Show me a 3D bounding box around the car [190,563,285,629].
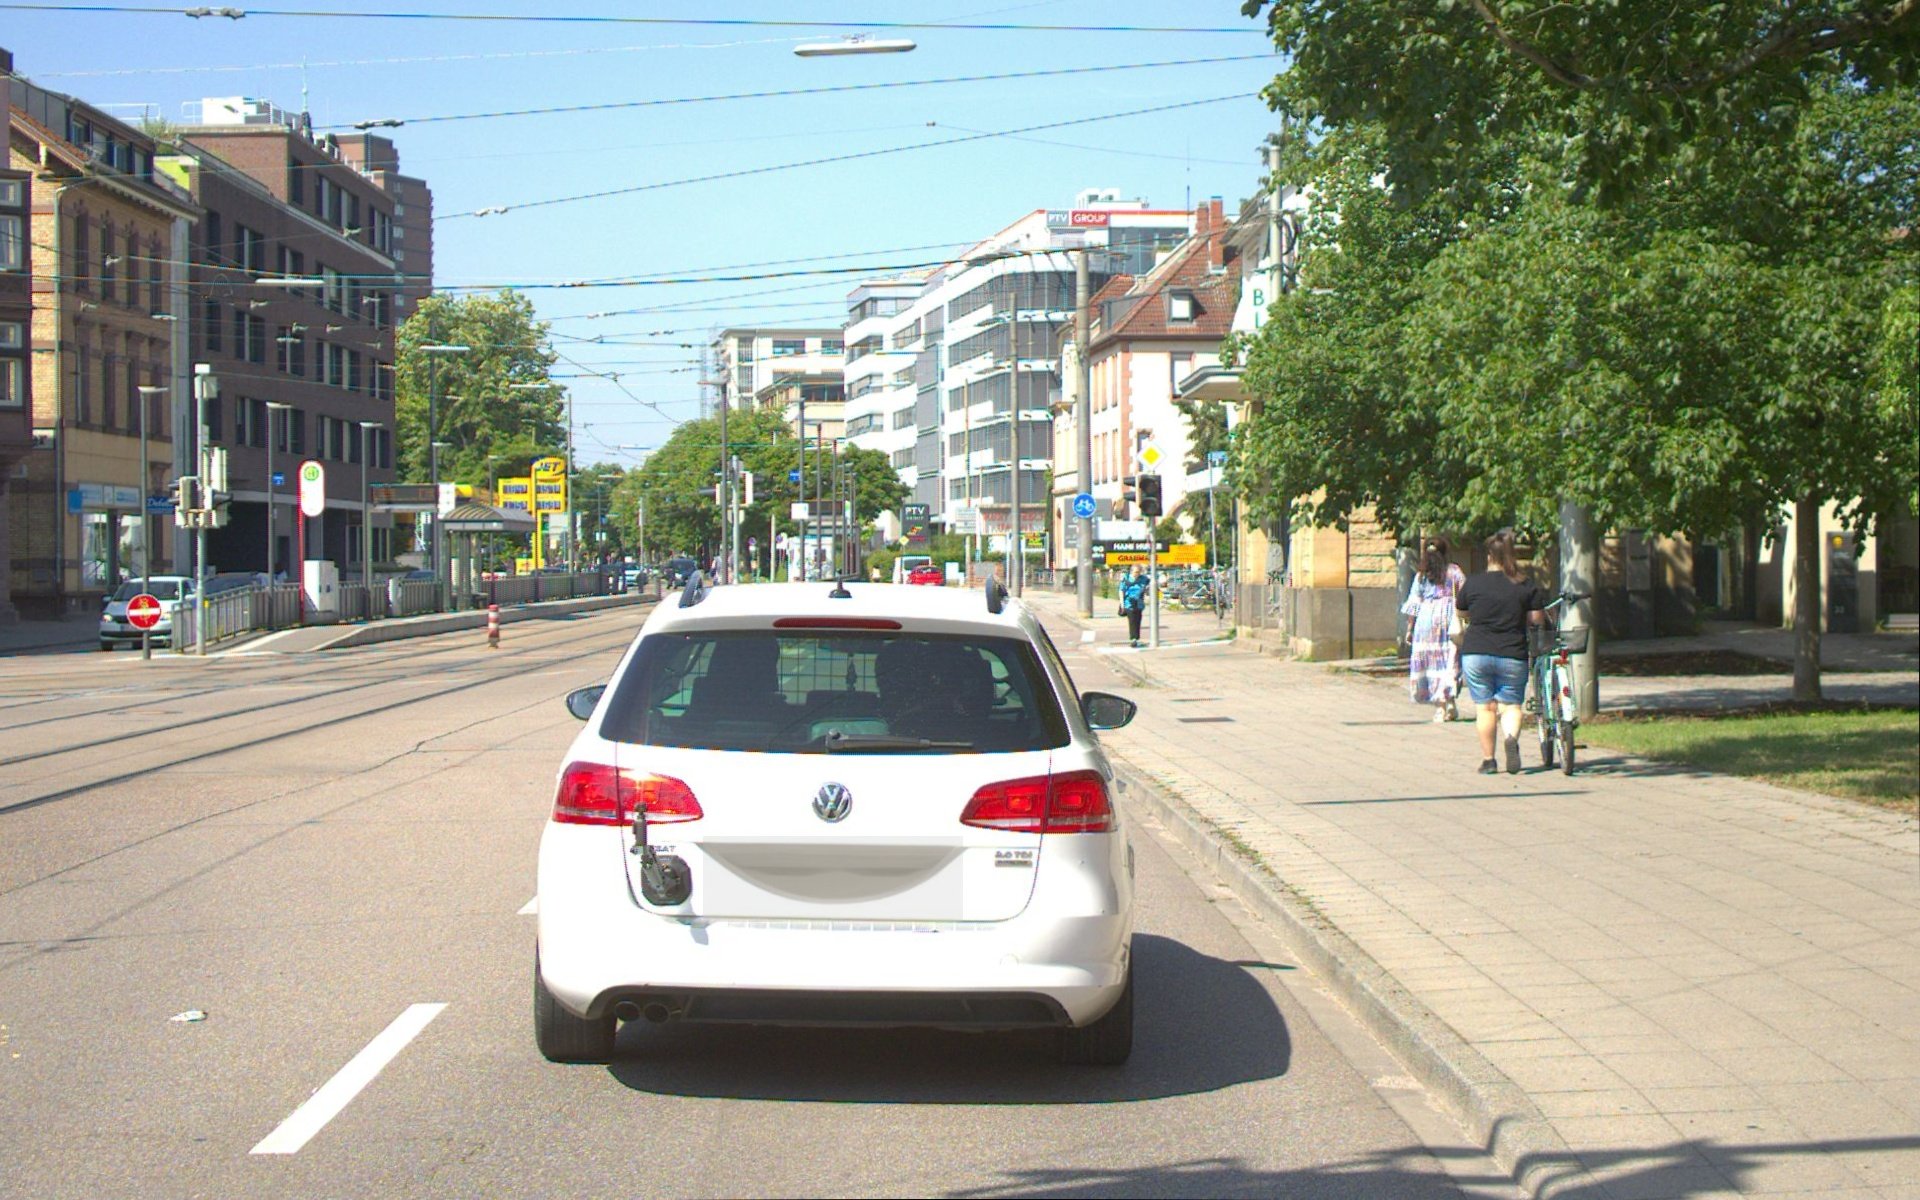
[{"bbox_3d":[-16.557,-0.110,78.925,1.572,1.454,3.815,-1,1,-4],"label":"car"}]

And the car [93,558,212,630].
[{"bbox_3d":[-16.624,-0.146,70.947,1.625,1.426,3.963,1,1,-2],"label":"car"}]

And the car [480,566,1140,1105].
[{"bbox_3d":[-0.401,0.611,11.122,1.753,1.413,3.853,0,1,0],"label":"car"}]

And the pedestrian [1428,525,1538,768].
[{"bbox_3d":[3.422,0.296,22.536,0.540,1.543,0.663,-3,1,-1],"label":"pedestrian"}]

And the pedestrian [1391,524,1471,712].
[{"bbox_3d":[4.261,0.158,31.138,0.650,1.676,0.707,0,1,3],"label":"pedestrian"}]

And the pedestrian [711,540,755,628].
[{"bbox_3d":[-4.675,-0.331,70.782,0.826,1.803,0.833,-1,1,0],"label":"pedestrian"}]

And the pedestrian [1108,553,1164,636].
[{"bbox_3d":[3.221,-0.110,63.005,0.856,1.505,0.781,0,1,16],"label":"pedestrian"}]

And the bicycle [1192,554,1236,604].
[{"bbox_3d":[5.969,-0.496,80.741,0.726,1.135,2.193,0,1,12],"label":"bicycle"}]

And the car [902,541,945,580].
[{"bbox_3d":[-1.963,-2.105,183.045,1.993,2.007,4.001,-1,1,-5],"label":"car"}]

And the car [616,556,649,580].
[{"bbox_3d":[-19.872,-1.961,209.007,1.667,1.461,3.773,0,1,-1],"label":"car"}]

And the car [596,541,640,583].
[{"bbox_3d":[-16.726,-1.855,168.356,1.993,2.007,4.001,-2,0,-4],"label":"car"}]

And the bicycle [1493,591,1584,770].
[{"bbox_3d":[3.763,0.502,22.385,0.536,1.107,1.806,-1,0,9],"label":"bicycle"}]

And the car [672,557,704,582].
[{"bbox_3d":[-16.478,-1.848,208.617,1.667,1.461,3.773,0,1,-1],"label":"car"}]

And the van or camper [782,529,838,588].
[{"bbox_3d":[-8.249,-2.288,189.270,2.943,3.169,6.614,0,1,-2],"label":"van or camper"}]
